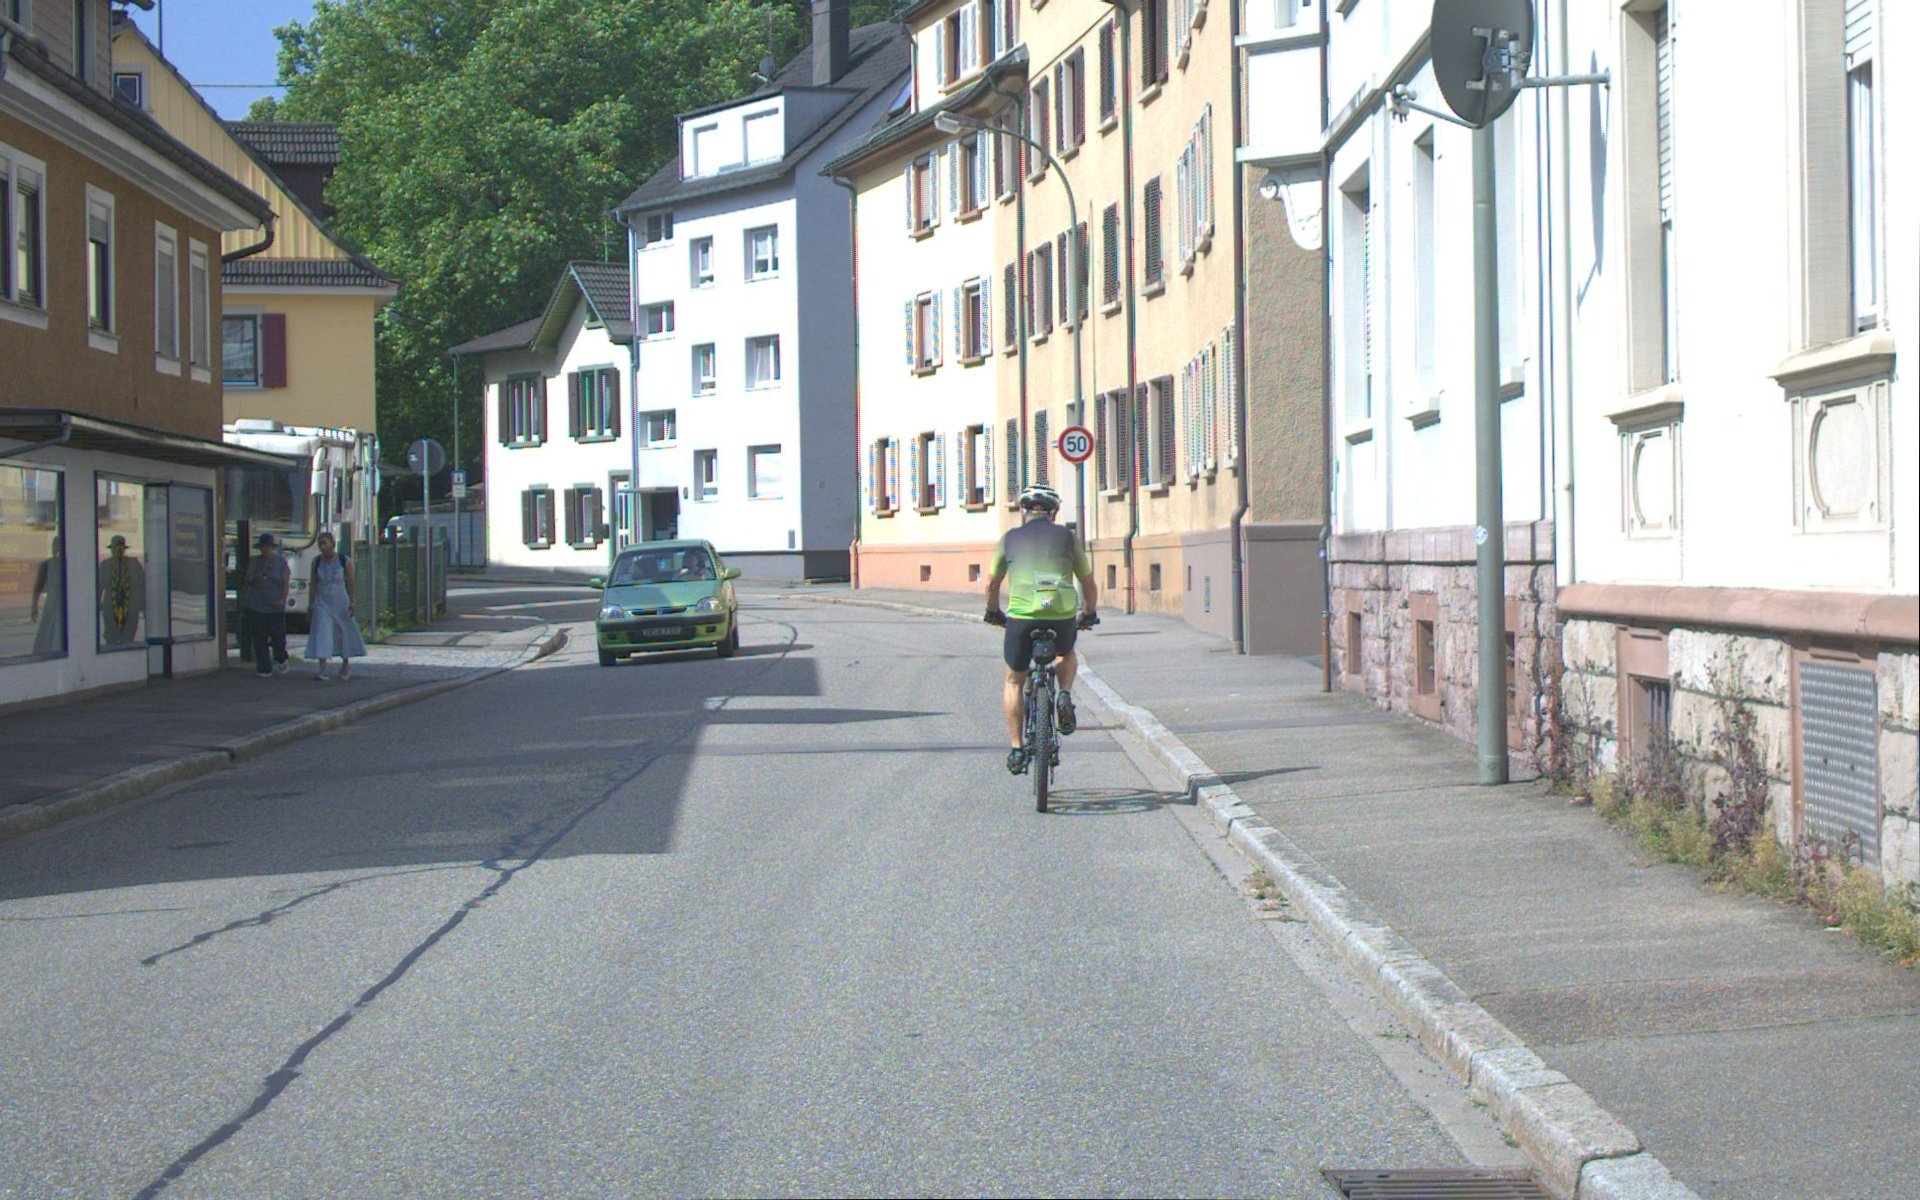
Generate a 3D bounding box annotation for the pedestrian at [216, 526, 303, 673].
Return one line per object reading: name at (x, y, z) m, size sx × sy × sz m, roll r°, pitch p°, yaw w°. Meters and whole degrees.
pedestrian at (-7.671, -0.013, 37.682) m, size 0.735 × 1.559 × 0.824 m, roll 2°, pitch 1°, yaw -1°

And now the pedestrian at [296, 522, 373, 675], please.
pedestrian at (-6.828, -0.023, 37.536) m, size 0.639 × 1.621 × 0.777 m, roll 2°, pitch 1°, yaw -1°

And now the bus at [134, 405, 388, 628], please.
bus at (-10.975, -1.310, 54.821) m, size 2.820 × 3.217 × 9.037 m, roll 1°, pitch 1°, yaw -4°

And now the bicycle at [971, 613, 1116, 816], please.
bicycle at (0.444, 0.611, 19.011) m, size 0.698 × 1.032 × 1.471 m, roll 0°, pitch 1°, yaw -3°

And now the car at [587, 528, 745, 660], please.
car at (-3.606, -0.110, 42.653) m, size 1.596 × 1.459 × 3.660 m, roll -4°, pitch 1°, yaw -1°

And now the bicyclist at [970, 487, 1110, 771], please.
bicyclist at (0.433, 0.151, 18.995) m, size 0.685 × 1.526 × 0.716 m, roll -1°, pitch 1°, yaw -3°
